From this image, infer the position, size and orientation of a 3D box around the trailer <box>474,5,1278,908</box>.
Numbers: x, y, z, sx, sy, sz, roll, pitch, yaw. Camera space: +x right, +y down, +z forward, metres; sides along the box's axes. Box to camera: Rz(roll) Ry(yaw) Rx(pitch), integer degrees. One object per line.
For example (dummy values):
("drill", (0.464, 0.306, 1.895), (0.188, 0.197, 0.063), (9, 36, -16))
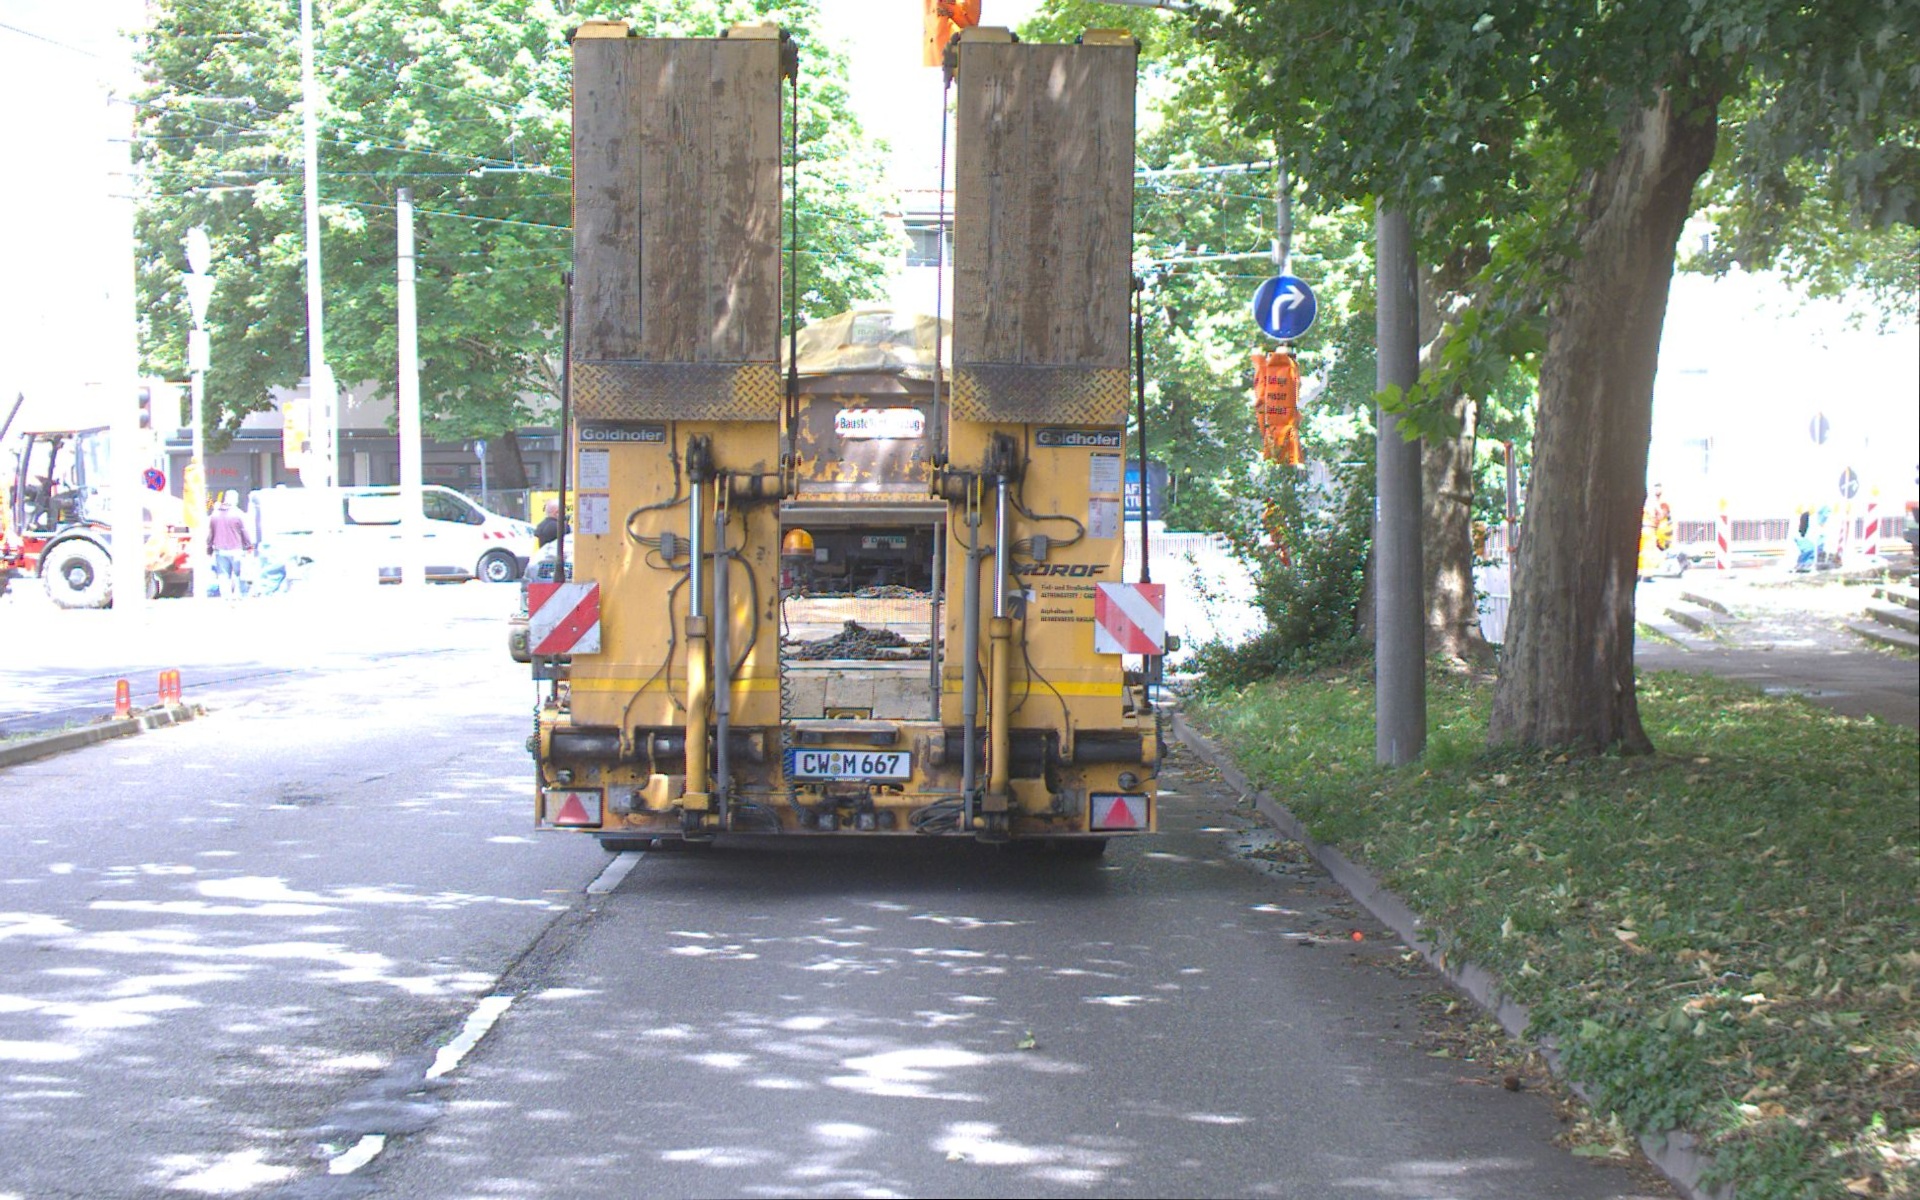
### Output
("trailer", (-0.191, -0.678, 19.097), (3.154, 3.540, 11.097), (0, 1, 2))

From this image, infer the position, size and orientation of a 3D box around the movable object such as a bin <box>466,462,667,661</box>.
("movable object such as a bin", (-4.110, -0.420, 36.153), (1.399, 2.007, 2.555), (1, 1, 11))

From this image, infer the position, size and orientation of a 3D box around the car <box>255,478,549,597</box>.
("car", (-10.116, -1.131, 62.192), (5.088, 2.095, 1.977), (0, 1, -14))

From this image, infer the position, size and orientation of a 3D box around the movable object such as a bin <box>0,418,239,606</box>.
("movable object such as a bin", (-12.914, -1.276, 49.853), (4.373, 2.620, 2.217), (1, 1, 26))

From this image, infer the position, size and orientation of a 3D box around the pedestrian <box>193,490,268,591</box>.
("pedestrian", (-10.291, -0.838, 48.537), (0.916, 1.404, 0.753), (0, 1, -2))

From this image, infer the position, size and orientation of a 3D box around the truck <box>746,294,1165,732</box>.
("truck", (0.087, -0.703, 28.609), (2.989, 3.124, 7.888), (0, 1, 2))

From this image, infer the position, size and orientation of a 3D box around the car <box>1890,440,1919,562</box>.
("car", (20.585, -1.931, 67.256), (4.239, 2.357, 2.159), (0, 1, -27))
